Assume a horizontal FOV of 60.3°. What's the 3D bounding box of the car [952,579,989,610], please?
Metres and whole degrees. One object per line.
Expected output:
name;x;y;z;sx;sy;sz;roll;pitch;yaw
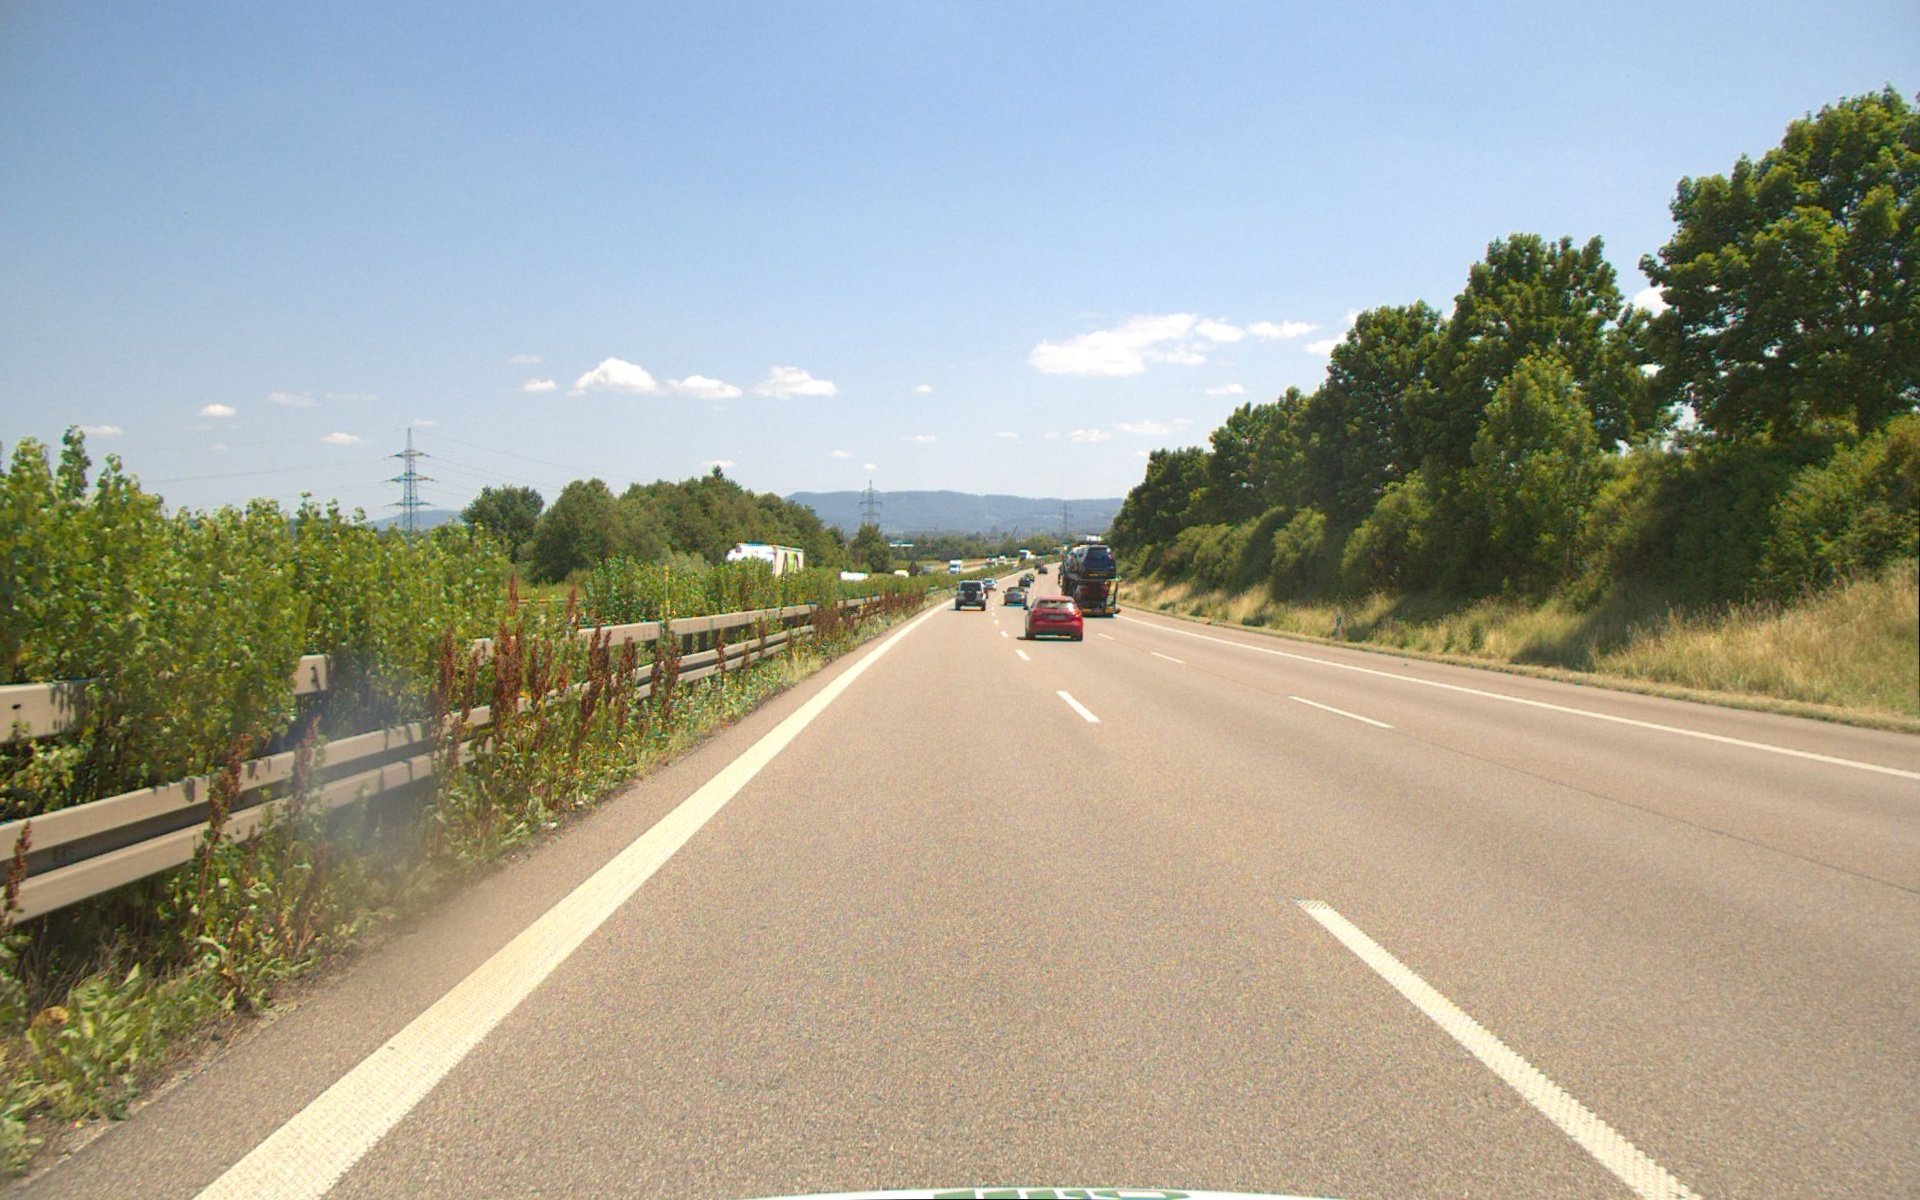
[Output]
car;0.658;-0.361;104.943;2.042;1.861;4.751;1;1;-3

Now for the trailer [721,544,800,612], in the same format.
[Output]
trailer;-12.989;-1.469;109.076;3.127;4.147;14.046;1;1;1

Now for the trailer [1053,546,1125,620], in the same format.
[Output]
trailer;7.659;-1.092;100.133;2.797;4.063;15.394;1;1;-1

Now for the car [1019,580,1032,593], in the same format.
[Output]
car;8.962;-1.820;226.245;1.601;1.734;3.403;1;1;5

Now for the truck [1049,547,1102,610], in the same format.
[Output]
truck;7.474;-1.435;107.847;2.698;3.920;6.642;1;1;-2

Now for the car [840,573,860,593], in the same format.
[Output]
car;-10.814;-1.701;163.215;1.595;1.860;3.770;1;1;2

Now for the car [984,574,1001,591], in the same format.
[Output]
car;3.963;-2.148;200.425;1.662;2.048;3.825;1;1;5

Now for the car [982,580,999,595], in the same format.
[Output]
car;2.820;-1.166;153.362;1.425;1.289;3.339;1;1;3

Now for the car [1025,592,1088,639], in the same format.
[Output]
car;3.112;0.490;54.031;1.652;1.403;3.947;1;1;-3

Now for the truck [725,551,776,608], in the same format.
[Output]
truck;-15.846;-1.597;125.266;2.948;4.180;5.623;1;1;1

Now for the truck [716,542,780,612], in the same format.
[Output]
truck;-13.119;-1.425;102.722;3.110;4.180;5.228;1;1;1

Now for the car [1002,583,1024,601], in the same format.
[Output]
car;4.043;-0.627;126.000;1.423;1.289;3.538;1;1;-2
